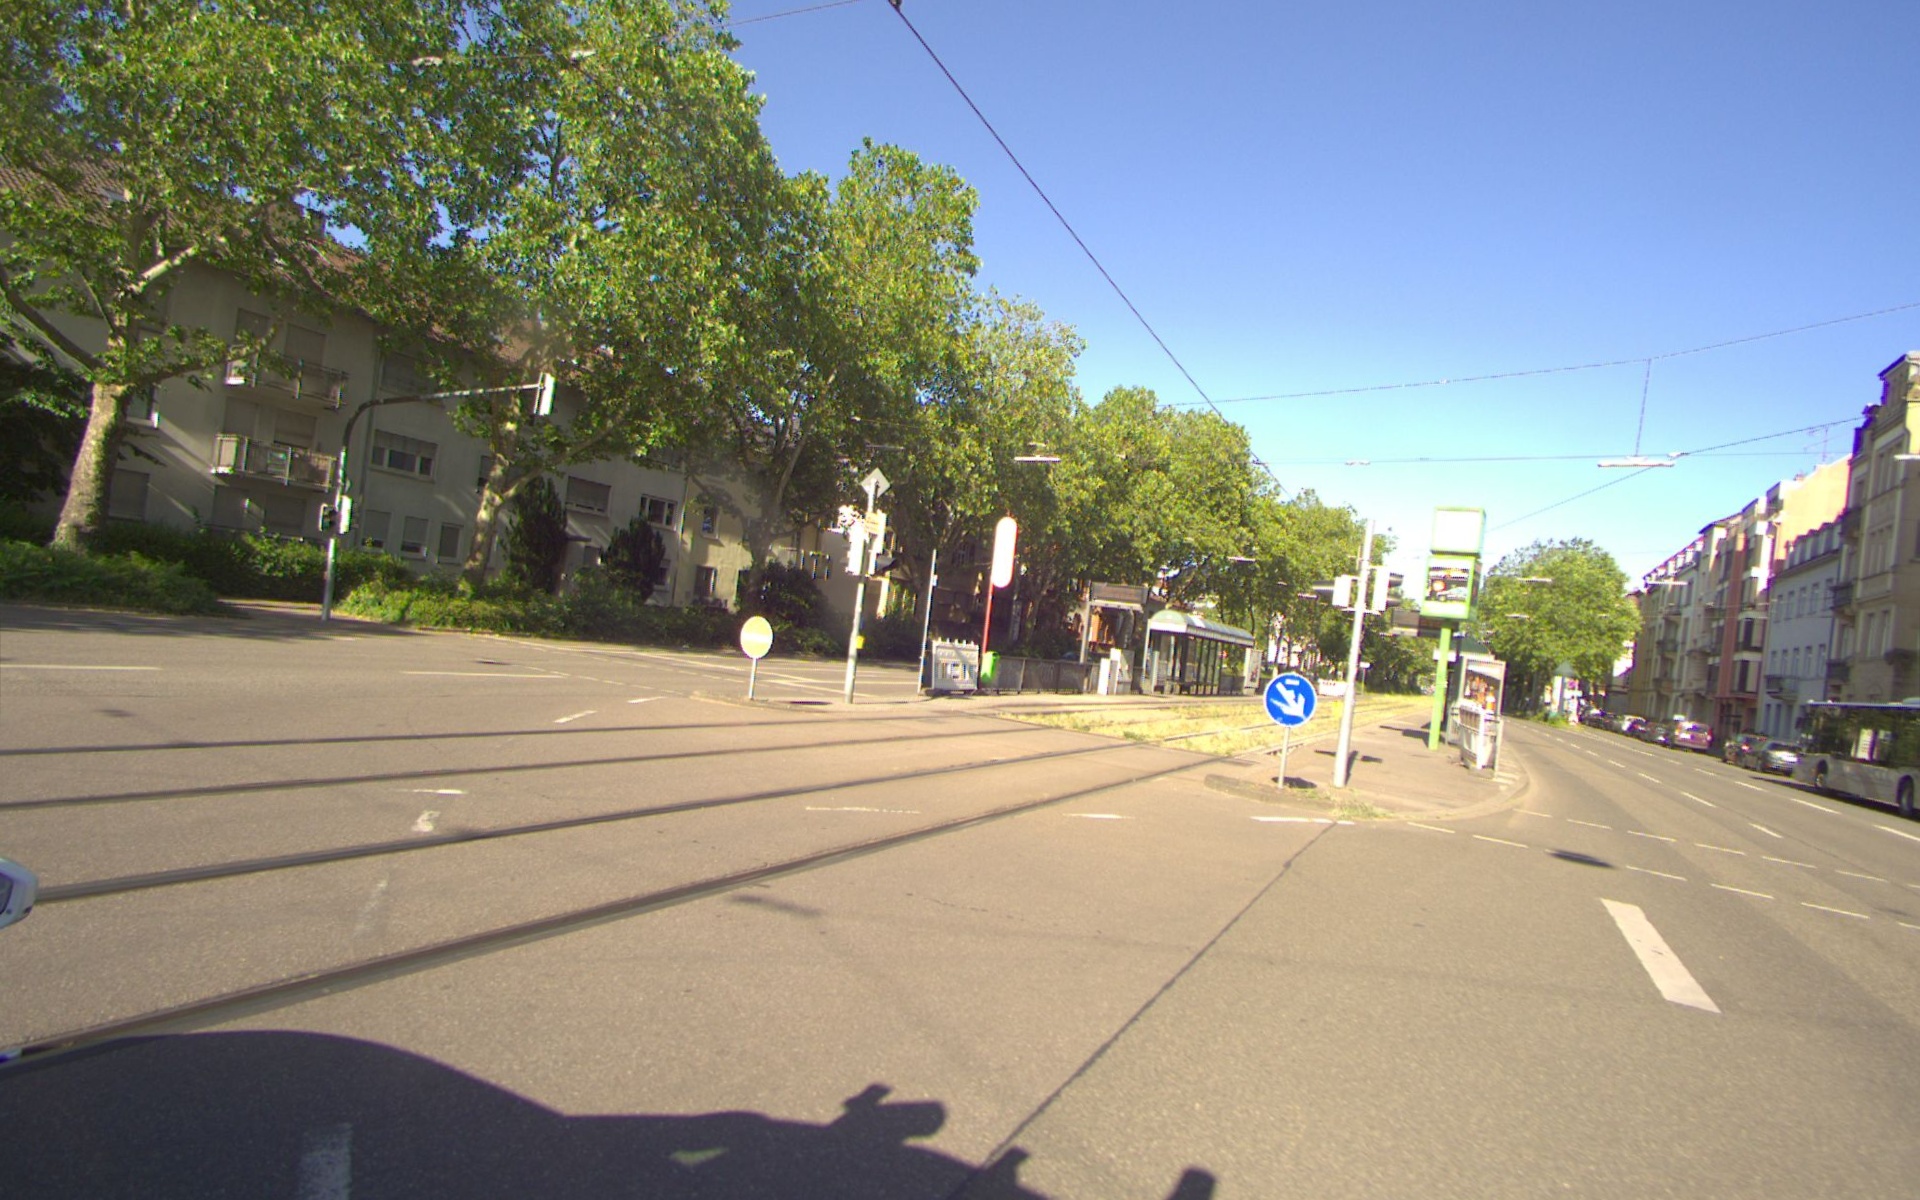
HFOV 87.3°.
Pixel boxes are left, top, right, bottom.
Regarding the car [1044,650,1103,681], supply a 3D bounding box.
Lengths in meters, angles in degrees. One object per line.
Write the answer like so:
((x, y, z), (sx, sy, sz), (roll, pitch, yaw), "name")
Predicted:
((7.182, 4.148, 63.427), (1.803, 1.424, 3.876), (6, -4, 40), "car")

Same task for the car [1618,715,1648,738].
((56.044, 10.502, 83.799), (1.535, 1.625, 3.572), (7, -1, 29), "car")

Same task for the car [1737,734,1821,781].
((35.207, 6.747, 43.378), (1.720, 1.437, 3.999), (7, -1, 25), "car")

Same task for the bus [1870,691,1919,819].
((23.411, 3.683, 21.209), (3.078, 3.069, 10.679), (8, -1, 26), "bus")

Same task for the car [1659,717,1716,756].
((45.225, 8.437, 62.634), (1.994, 1.917, 3.998), (7, -1, 26), "car")

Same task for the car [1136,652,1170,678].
((18.385, 6.194, 95.733), (1.965, 2.035, 4.001), (7, -3, 28), "car")

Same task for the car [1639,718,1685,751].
((48.904, 9.344, 70.156), (1.769, 1.811, 3.998), (7, -1, 26), "car")

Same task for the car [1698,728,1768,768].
((37.425, 7.144, 48.807), (1.720, 1.437, 3.999), (7, -1, 25), "car")

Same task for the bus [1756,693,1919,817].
((28.061, 4.634, 30.930), (3.040, 3.052, 10.861), (8, -1, 26), "bus")

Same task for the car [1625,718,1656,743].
((53.414, 10.202, 78.995), (1.535, 1.625, 3.572), (7, -1, 29), "car")
